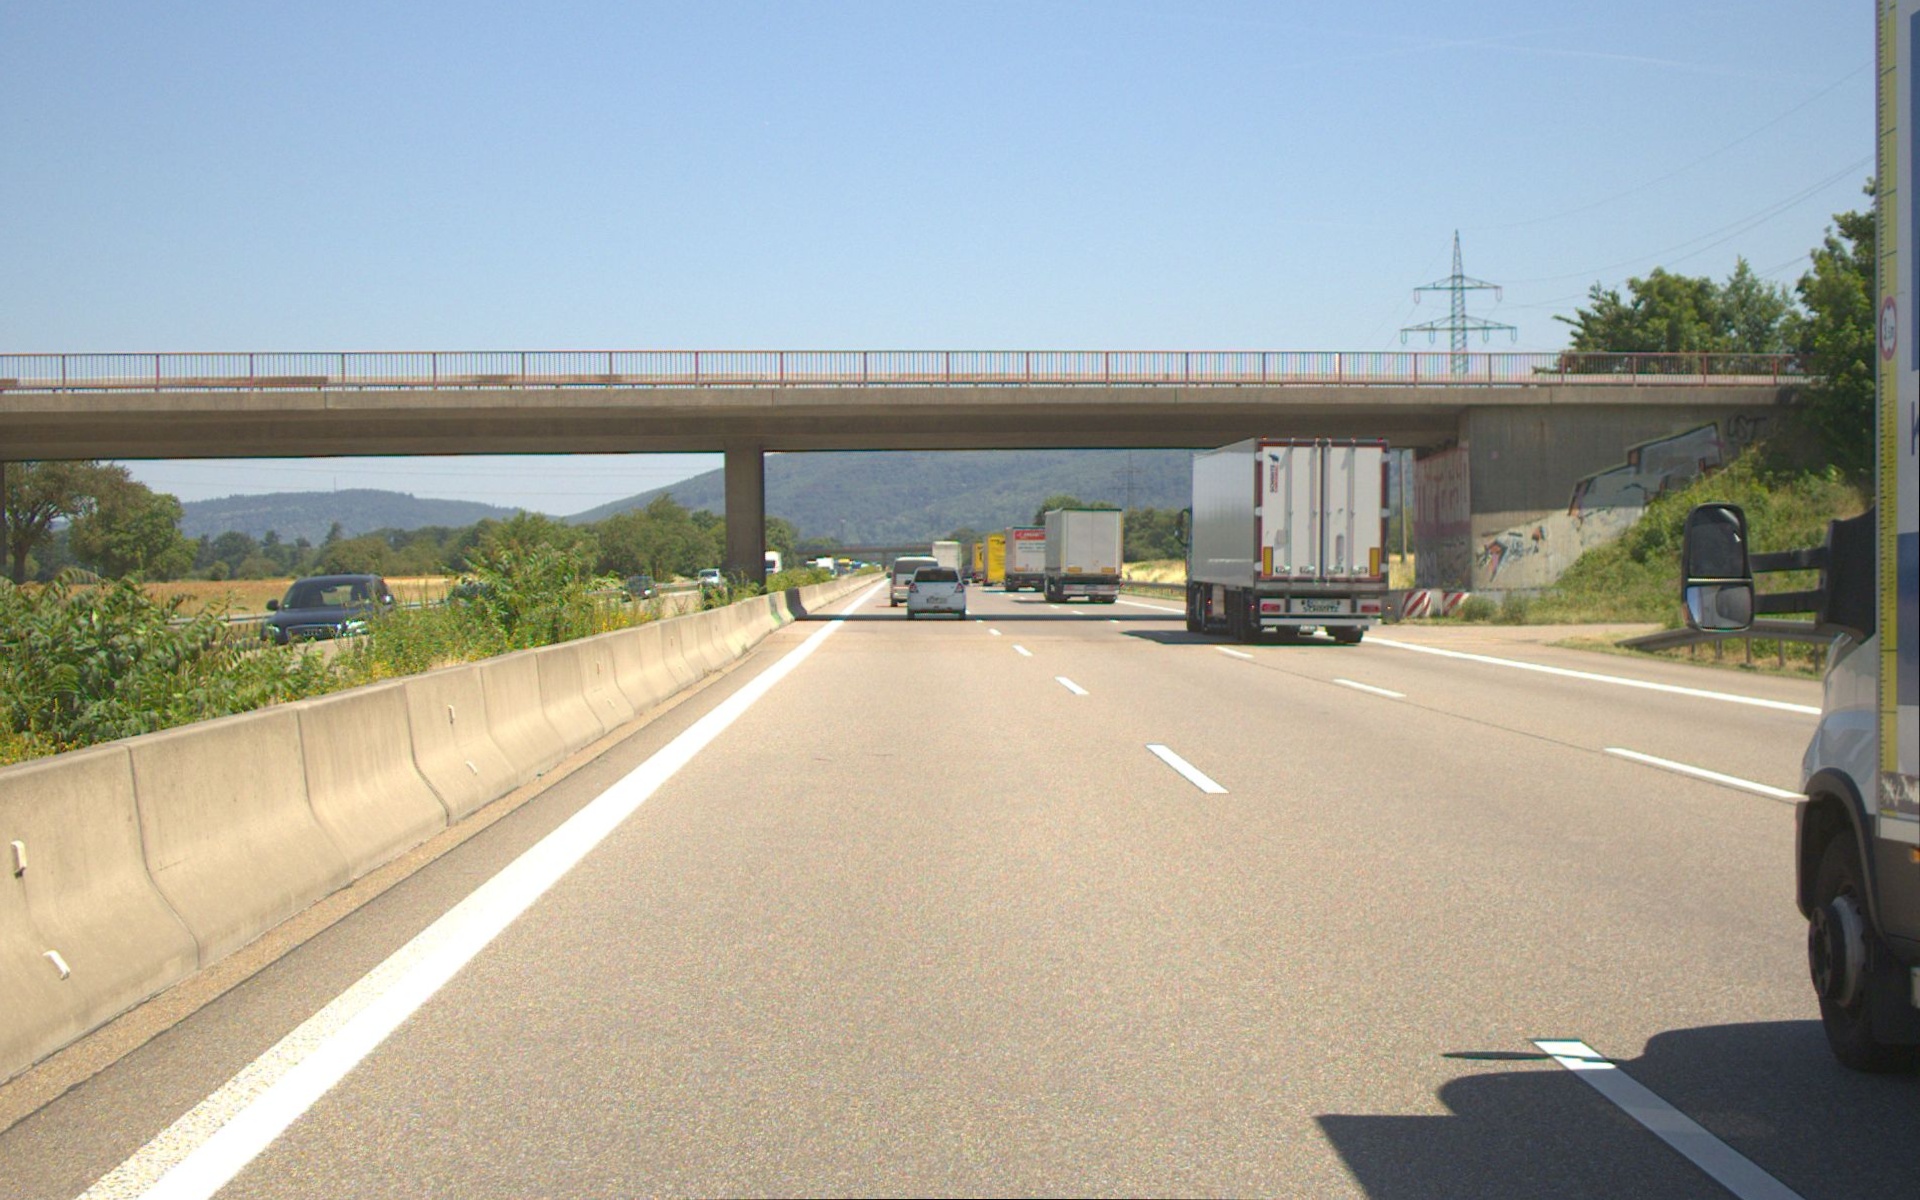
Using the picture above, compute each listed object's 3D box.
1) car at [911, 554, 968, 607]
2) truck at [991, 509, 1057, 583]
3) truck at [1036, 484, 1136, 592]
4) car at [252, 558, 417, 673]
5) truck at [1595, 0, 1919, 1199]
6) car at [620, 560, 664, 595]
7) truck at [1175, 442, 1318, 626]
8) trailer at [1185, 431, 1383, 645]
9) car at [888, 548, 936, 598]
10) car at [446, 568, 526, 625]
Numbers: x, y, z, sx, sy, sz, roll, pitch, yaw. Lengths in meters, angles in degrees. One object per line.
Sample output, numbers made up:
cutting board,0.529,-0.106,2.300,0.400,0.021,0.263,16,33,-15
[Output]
car,-0.584,-0.582,99.099,1.607,1.462,4.000,0,1,0
truck,3.976,-3.391,217.218,3.520,4.401,14.592,-1,1,-1
truck,5.388,-2.683,149.969,3.520,4.401,14.592,-1,1,-1
car,-10.102,0.219,55.784,1.908,1.732,4.122,-2,1,0
truck,3.645,-0.245,7.583,2.782,3.361,8.128,0,1,-1
car,-15.574,-1.114,168.574,1.805,1.667,4.000,-1,1,0
truck,6.648,-1.532,80.460,2.795,4.149,5.723,0,1,0
trailer,6.721,-1.295,73.543,2.795,4.149,13.956,0,1,0
car,-1.804,-1.049,130.078,1.761,1.844,4.000,0,1,0
car,-14.163,-0.121,102.809,1.806,1.539,3.877,-3,1,0
